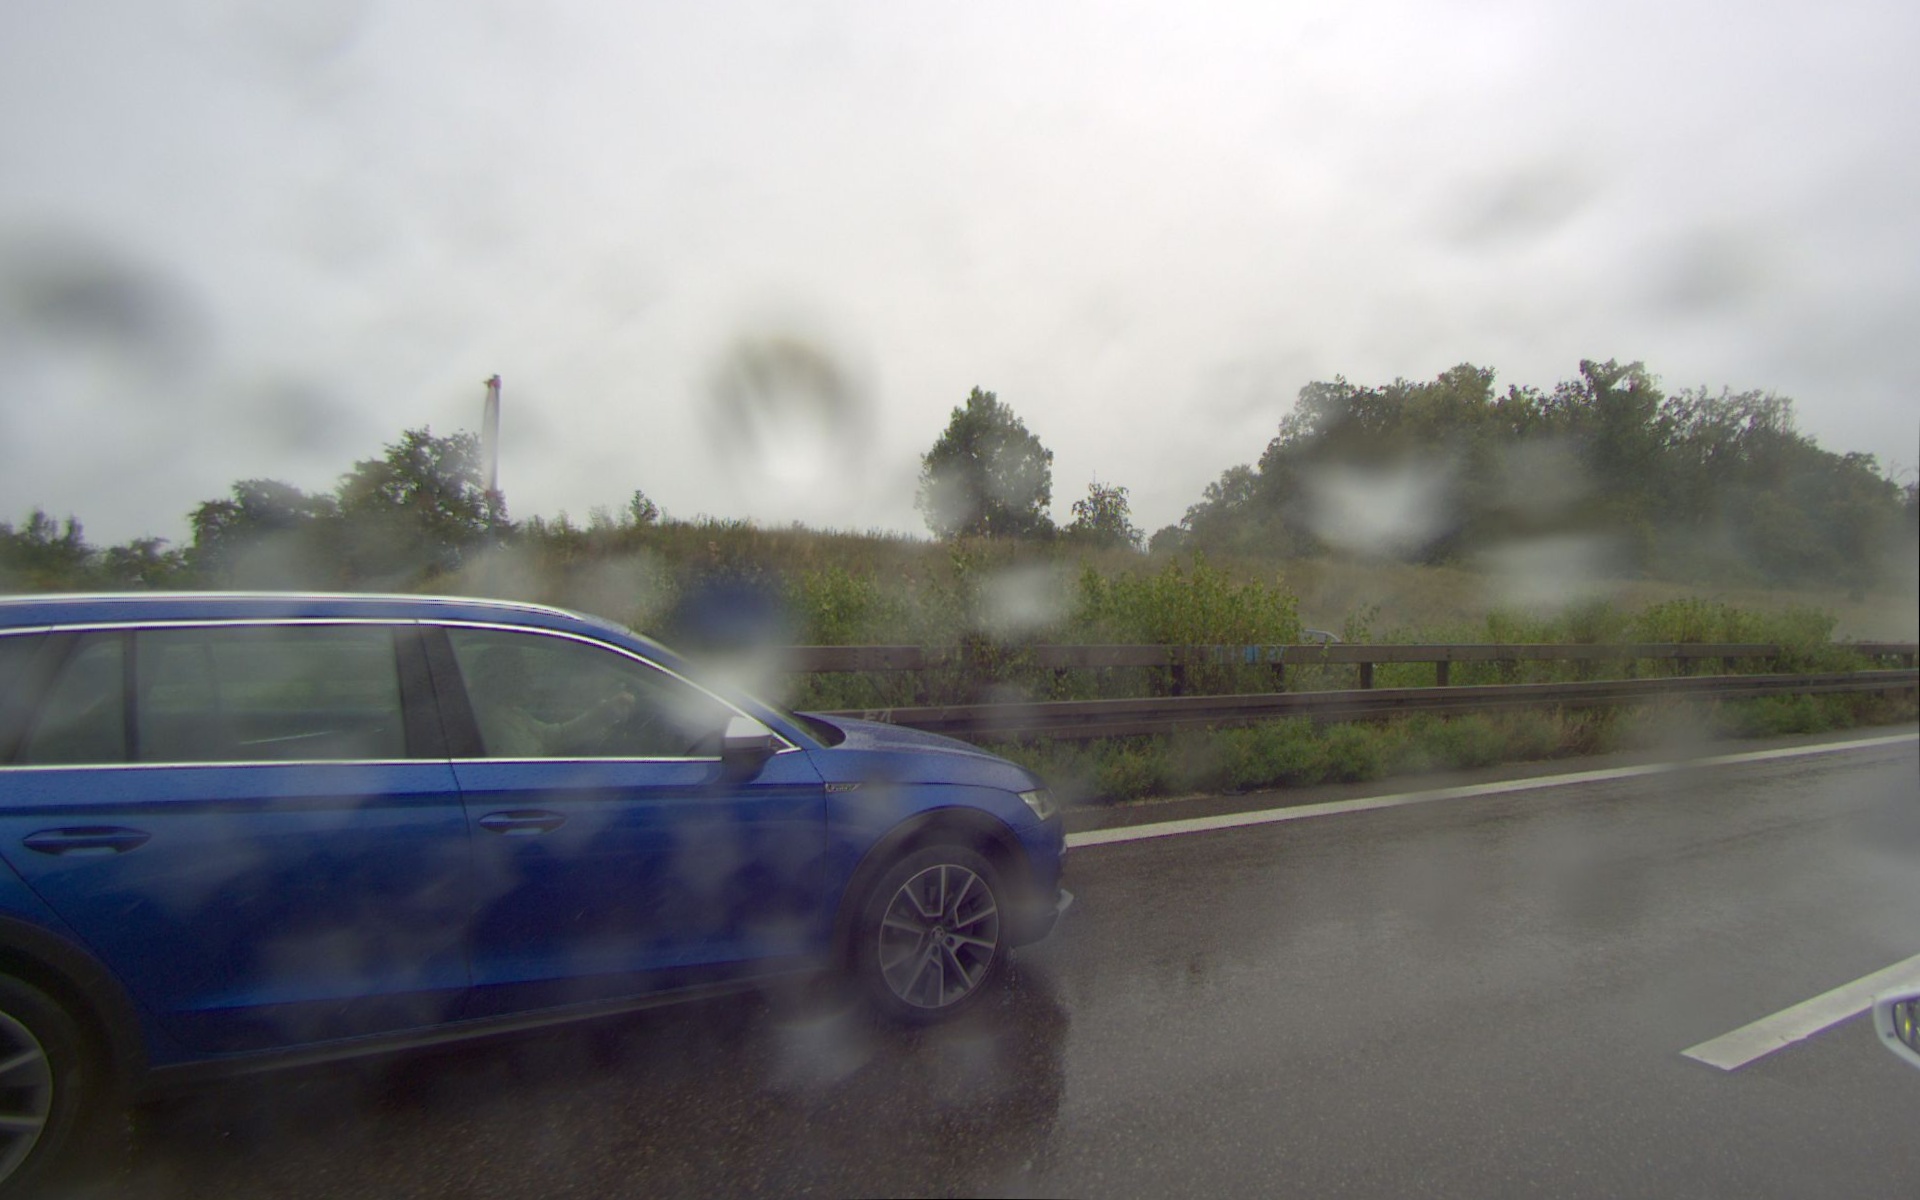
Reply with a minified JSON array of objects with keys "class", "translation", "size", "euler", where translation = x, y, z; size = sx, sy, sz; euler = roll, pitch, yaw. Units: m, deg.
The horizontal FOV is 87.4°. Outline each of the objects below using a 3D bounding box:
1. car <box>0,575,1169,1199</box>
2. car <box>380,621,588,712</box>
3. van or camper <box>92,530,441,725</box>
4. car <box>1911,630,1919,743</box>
[{"class":"car","translation":[-1.551,0.714,3.559],"size":[4.459,1.496,1.777],"euler":[1,0,-30]},{"class":"car","translation":[-8.890,1.191,18.825],"size":[3.407,1.553,1.388],"euler":[1,0,-30]},{"class":"van or camper","translation":[-8.664,0.344,12.880],"size":[3.484,2.209,1.354],"euler":[1,0,-30]},{"class":"car","translation":[14.181,1.132,12.894],"size":[4.179,1.418,1.710],"euler":[2,-1,-29]}]
